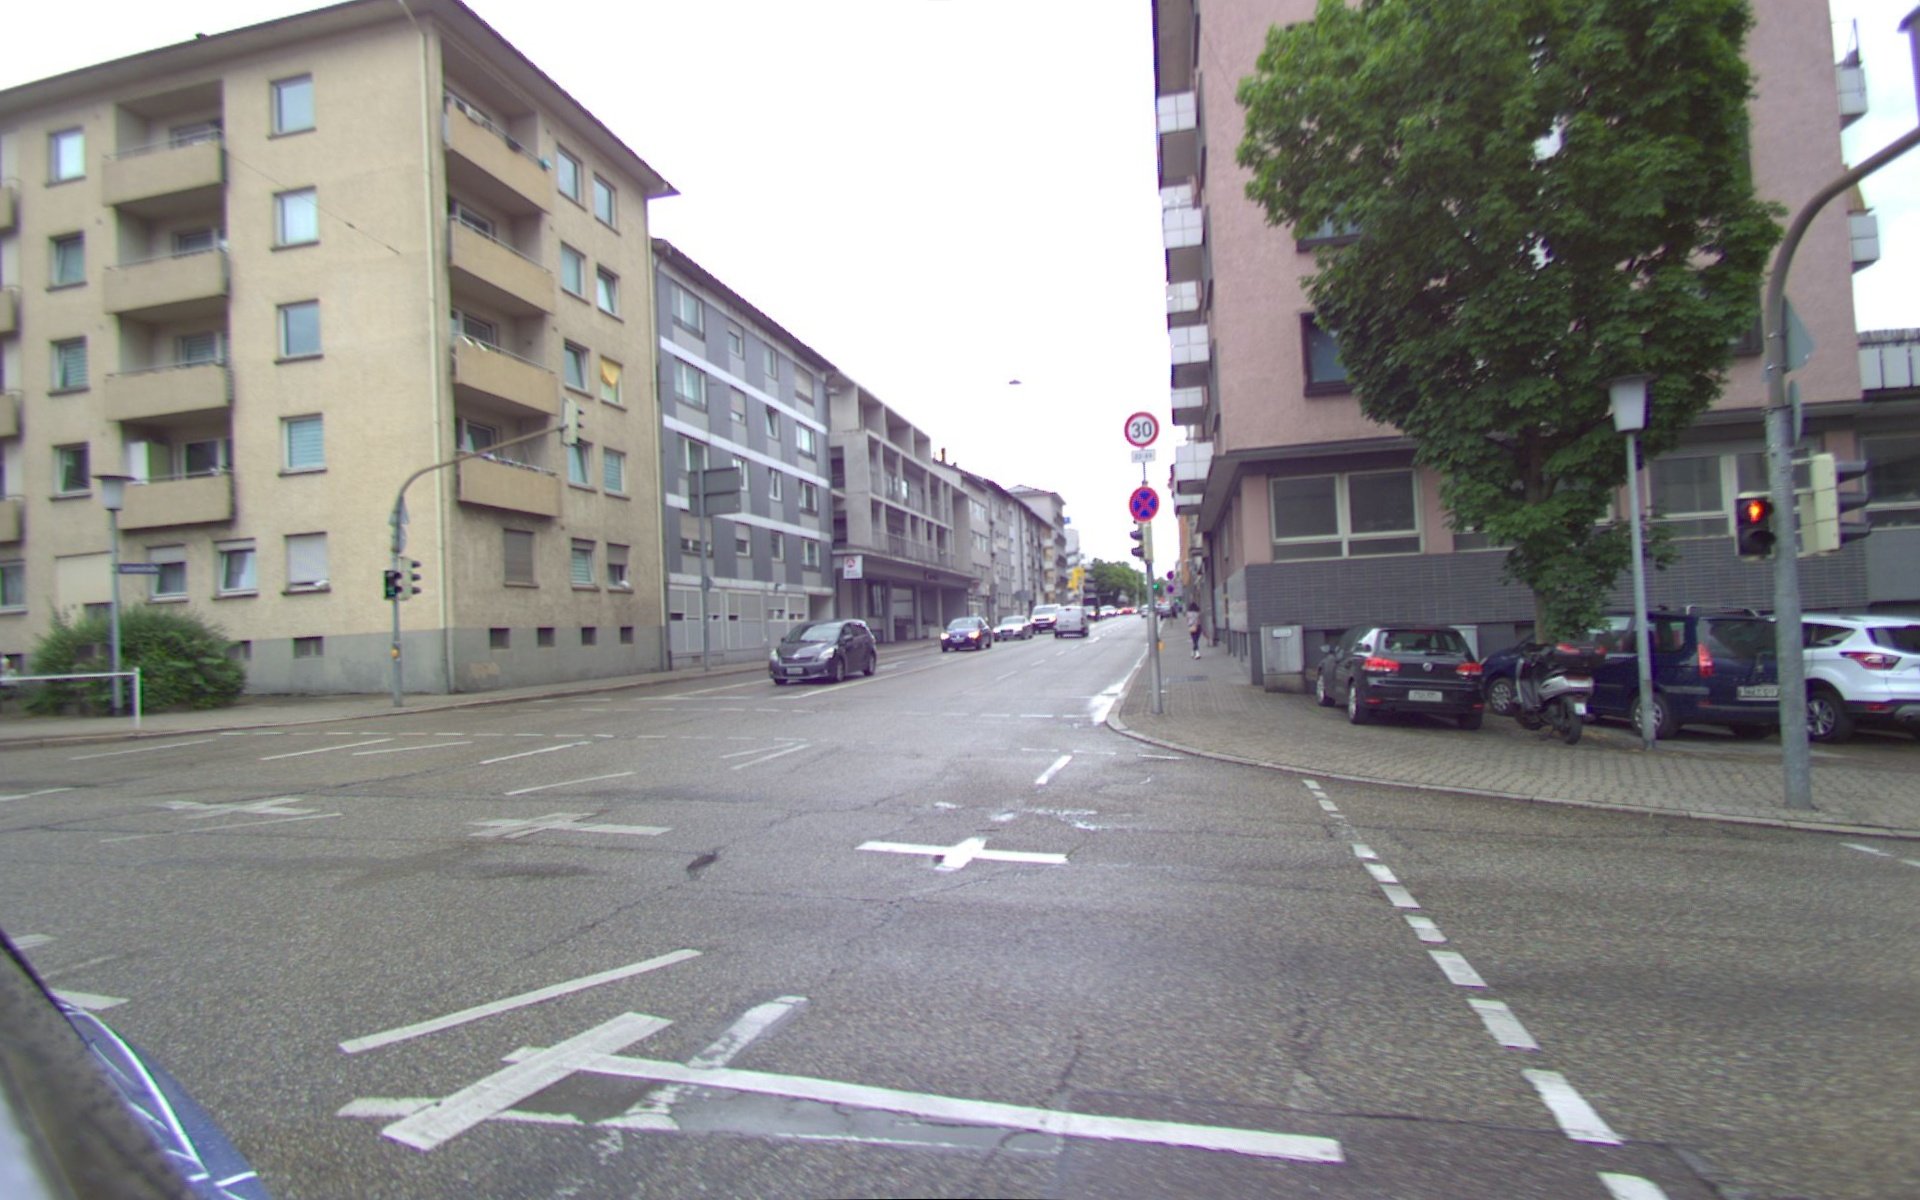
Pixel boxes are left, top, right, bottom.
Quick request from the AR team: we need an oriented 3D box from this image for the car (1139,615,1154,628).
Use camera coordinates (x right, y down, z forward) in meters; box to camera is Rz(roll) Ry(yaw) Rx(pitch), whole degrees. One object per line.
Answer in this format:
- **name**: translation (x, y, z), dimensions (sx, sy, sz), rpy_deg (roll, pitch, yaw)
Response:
- **car**: translation (22.312, 2.538, 120.711), dimensions (1.715, 1.472, 4.058), rpy_deg (0, 0, 11)

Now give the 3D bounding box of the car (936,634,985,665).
- **car**: translation (0.065, 2.153, 44.610), dimensions (1.673, 1.157, 3.991), rpy_deg (-1, -1, 7)

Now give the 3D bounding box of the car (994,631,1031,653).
- **car**: translation (3.050, 2.398, 58.132), dimensions (1.533, 1.076, 3.081), rpy_deg (-4, -1, 14)

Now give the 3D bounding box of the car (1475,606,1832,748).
- **car**: translation (9.828, 1.040, 14.851), dimensions (1.745, 1.741, 4.355), rpy_deg (2, -2, -10)

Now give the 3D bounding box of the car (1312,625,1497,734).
- **car**: translation (6.659, 1.111, 15.609), dimensions (1.719, 1.370, 3.987), rpy_deg (0, 0, 10)

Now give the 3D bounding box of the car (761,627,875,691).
- **car**: translation (-3.647, 1.517, 26.715), dimensions (1.715, 1.492, 4.057), rpy_deg (-3, -2, 11)

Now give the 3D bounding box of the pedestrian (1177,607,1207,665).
- **pedestrian**: translation (6.606, 1.019, 28.847), dimensions (0.521, 1.569, 0.452), rpy_deg (-8, 3, -33)

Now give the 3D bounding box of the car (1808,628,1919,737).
- **car**: translation (14.336, 1.181, 13.959), dimensions (1.834, 1.507, 4.001), rpy_deg (2, -1, -1)

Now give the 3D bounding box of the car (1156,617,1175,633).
- **car**: translation (21.117, 2.525, 104.051), dimensions (1.689, 1.466, 3.794), rpy_deg (-4, -1, 9)

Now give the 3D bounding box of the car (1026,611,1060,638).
- **car**: translation (5.821, 1.714, 70.885), dimensions (1.707, 1.674, 3.662), rpy_deg (-4, -1, 14)

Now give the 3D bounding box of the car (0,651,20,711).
- **car**: translation (-25.777, 2.060, 25.317), dimensions (3.290, 1.485, 1.760), rpy_deg (-1, 0, 12)

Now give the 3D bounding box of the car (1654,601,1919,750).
- **car**: translation (12.229, 1.011, 14.361), dimensions (1.833, 1.807, 4.003), rpy_deg (2, -2, -3)

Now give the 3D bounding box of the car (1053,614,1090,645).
- **car**: translation (6.544, 1.683, 59.059), dimensions (1.793, 1.728, 4.530), rpy_deg (0, -1, 11)

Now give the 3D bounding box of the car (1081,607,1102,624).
- **car**: translation (14.357, 1.675, 110.443), dimensions (1.835, 1.674, 3.662), rpy_deg (-4, -1, 14)

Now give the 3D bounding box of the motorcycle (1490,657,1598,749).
- **motorcycle**: translation (7.611, 1.309, 13.272), dimensions (0.447, 1.040, 1.792), rpy_deg (-1, -1, 4)
